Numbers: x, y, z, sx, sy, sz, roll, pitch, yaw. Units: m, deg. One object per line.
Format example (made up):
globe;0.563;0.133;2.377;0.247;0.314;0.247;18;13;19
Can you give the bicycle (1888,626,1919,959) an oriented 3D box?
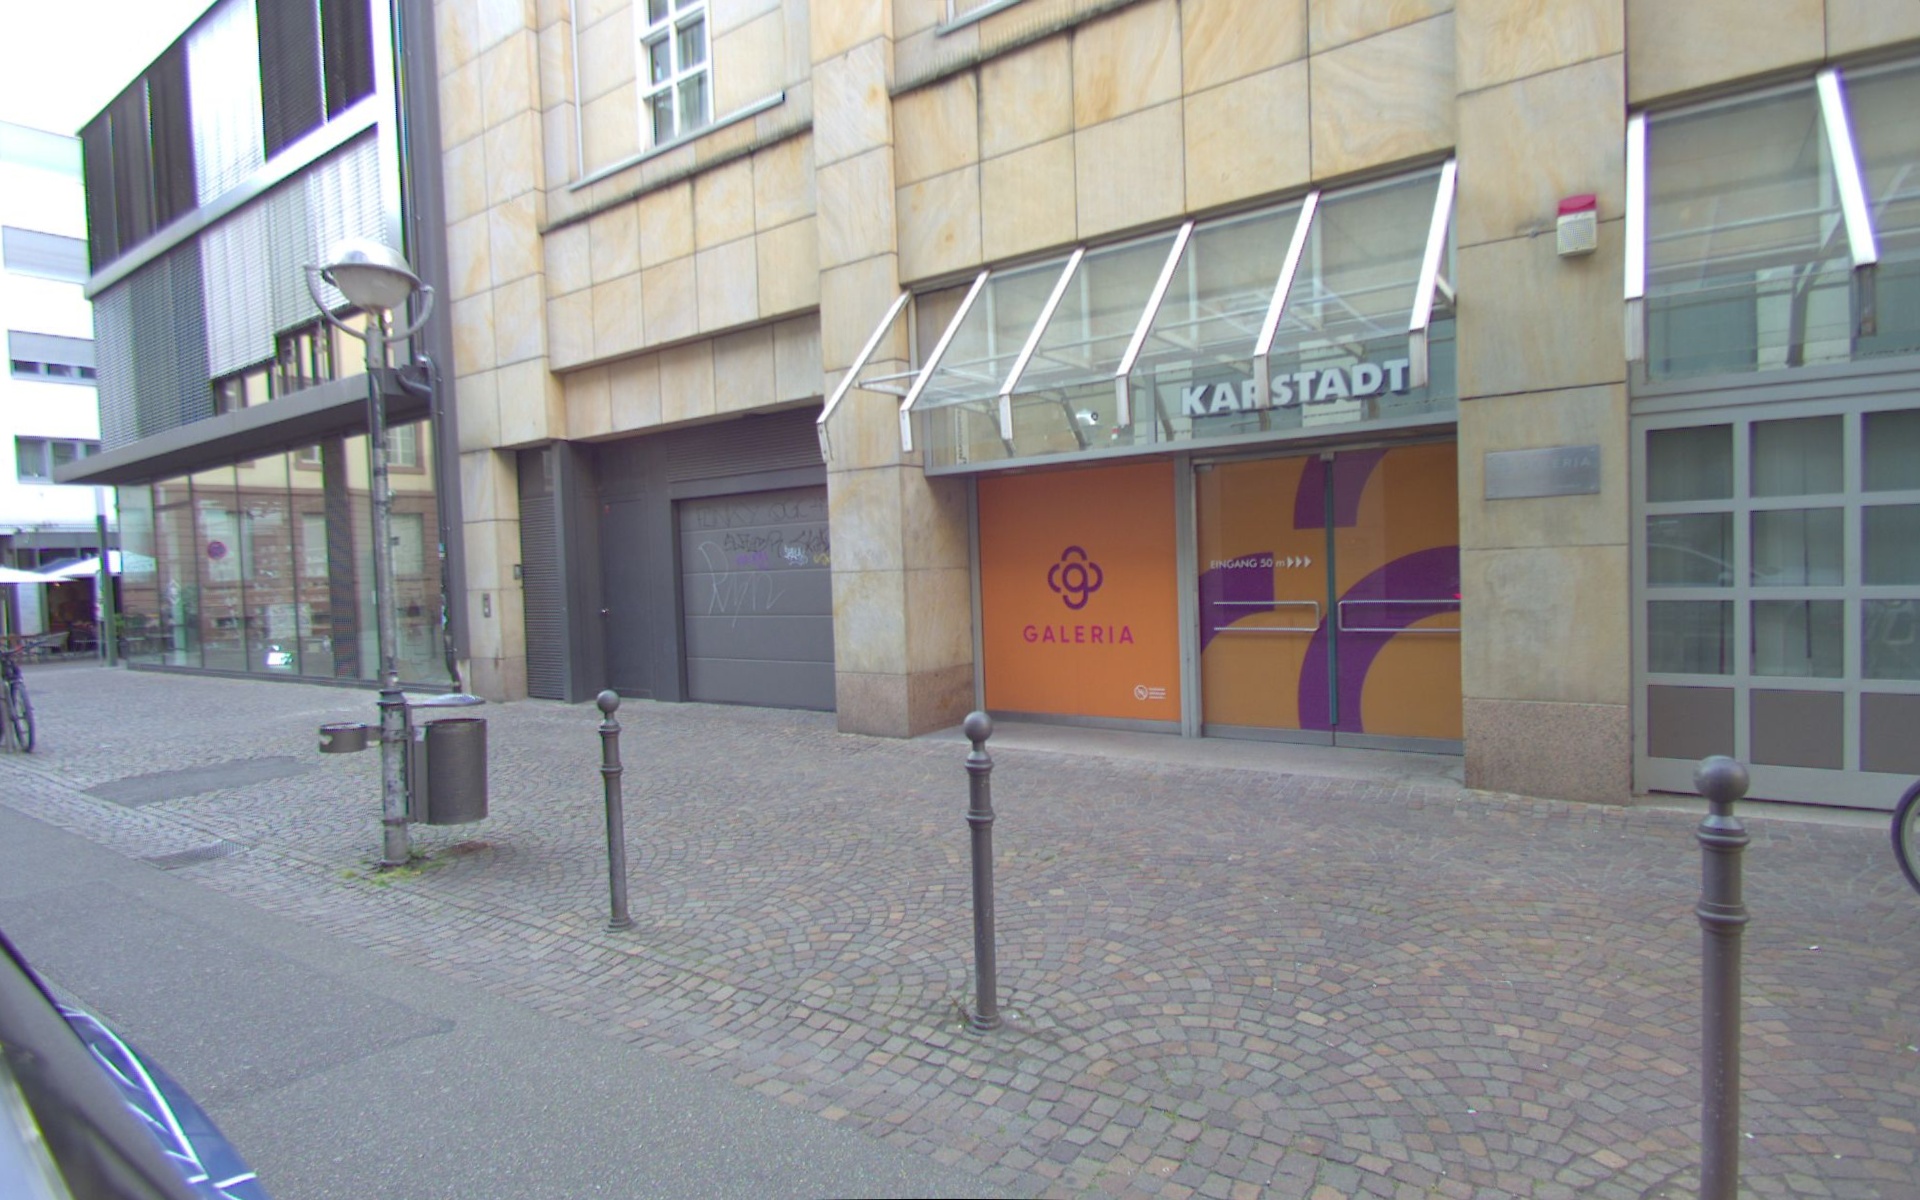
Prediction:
bicycle;4.102;0.667;3.097;0.685;1.120;1.779;-3;1;-40

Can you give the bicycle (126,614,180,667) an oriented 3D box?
bicycle;-18.822;0.948;23.597;1.699;1.144;0.461;-4;0;35

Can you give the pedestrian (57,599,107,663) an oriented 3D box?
pedestrian;-23.702;0.824;27.323;0.789;1.661;0.718;-2;1;30

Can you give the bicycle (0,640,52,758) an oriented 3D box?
bicycle;-10.275;1.011;10.718;1.924;1.141;0.407;-1;2;32
